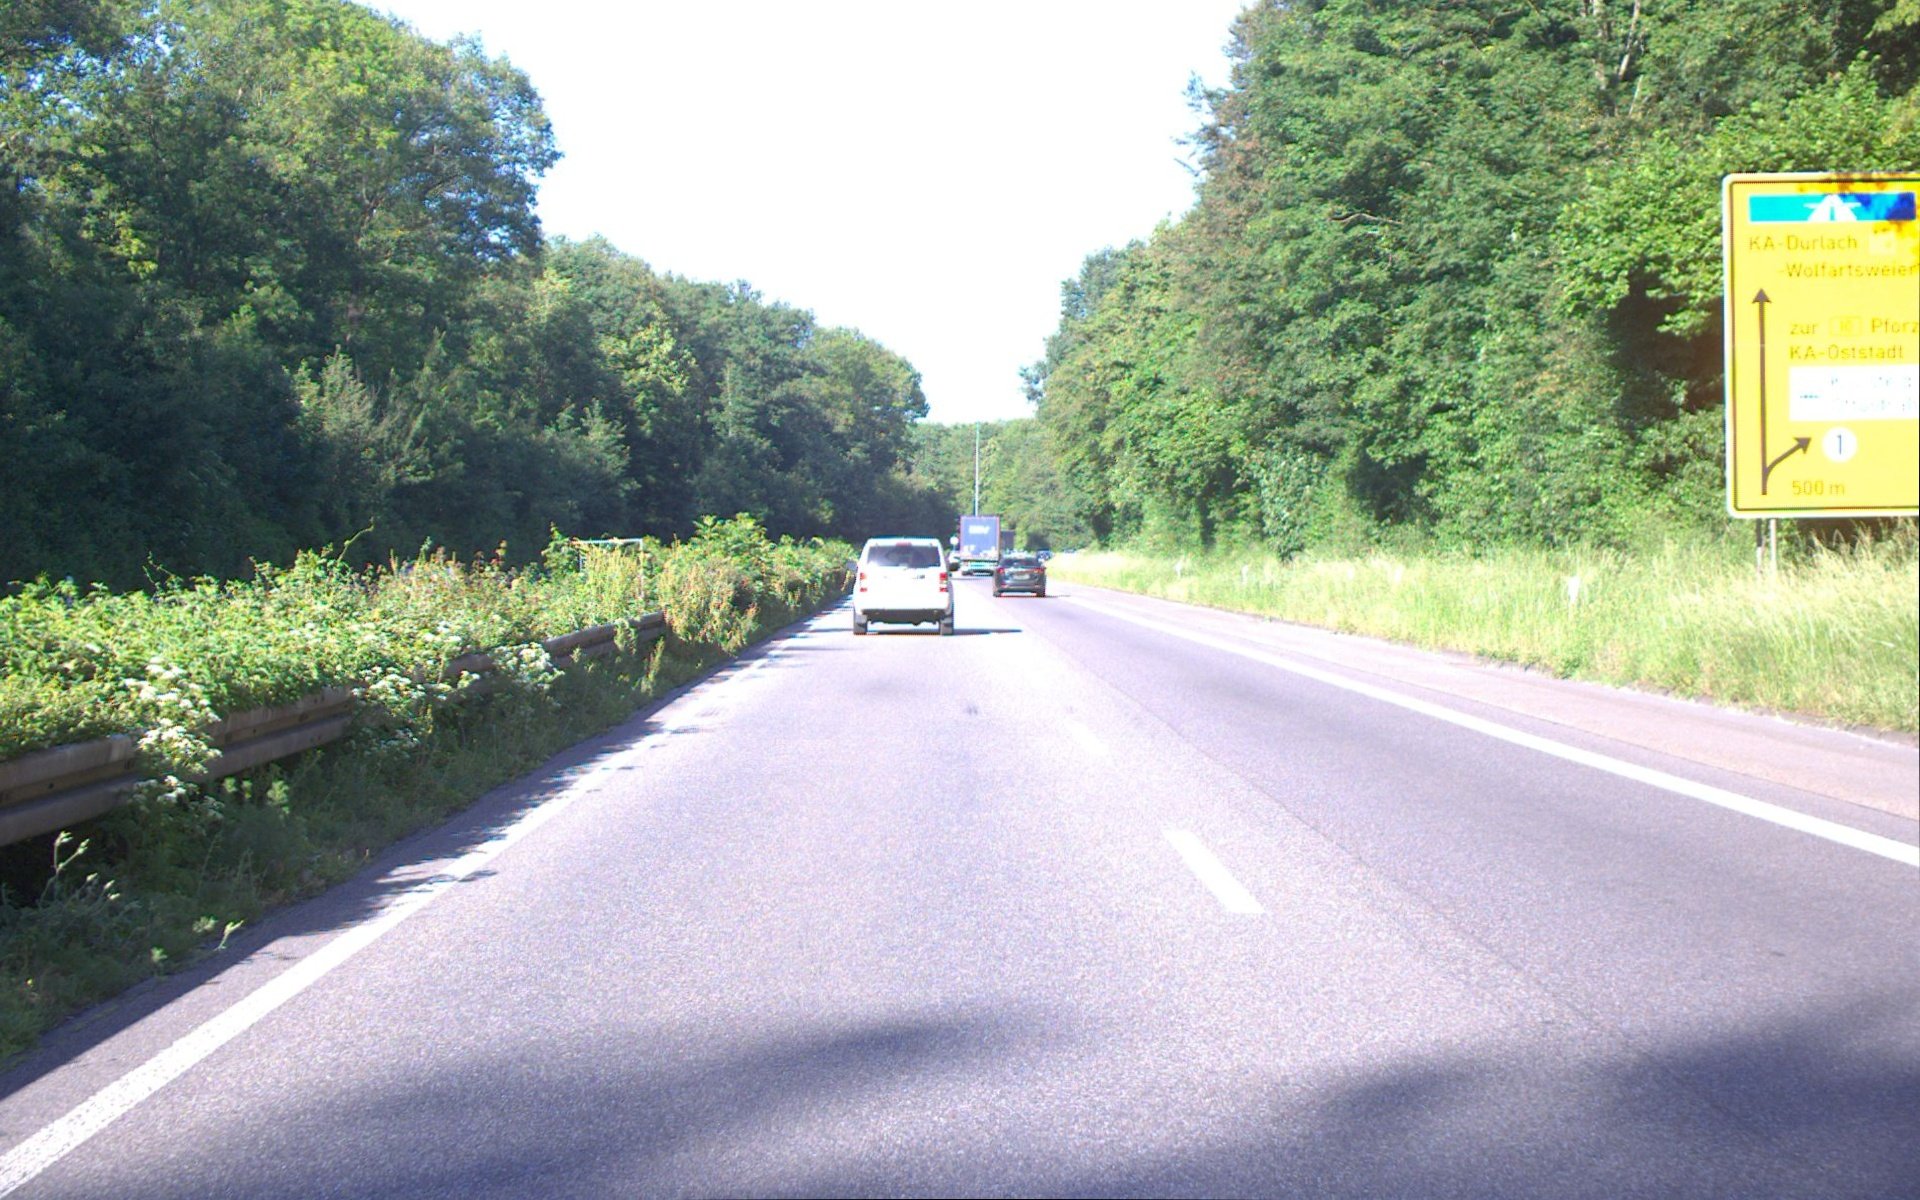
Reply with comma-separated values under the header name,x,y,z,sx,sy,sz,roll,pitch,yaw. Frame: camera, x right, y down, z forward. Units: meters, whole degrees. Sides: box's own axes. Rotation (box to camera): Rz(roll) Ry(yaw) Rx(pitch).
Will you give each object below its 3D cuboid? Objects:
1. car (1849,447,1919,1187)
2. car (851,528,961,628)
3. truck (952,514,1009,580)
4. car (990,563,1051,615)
name,x,y,z,sx,sy,sz,roll,pitch,yaw
car,3.277,0.550,6.715,1.799,1.807,4.588,1,0,-1
car,-1.014,-0.407,64.122,1.951,1.776,4.588,1,0,-1
truck,1.331,-3.562,232.931,3.734,4.328,9.304,1,0,0
car,2.102,-0.409,120.938,1.951,1.776,4.588,1,0,-1
